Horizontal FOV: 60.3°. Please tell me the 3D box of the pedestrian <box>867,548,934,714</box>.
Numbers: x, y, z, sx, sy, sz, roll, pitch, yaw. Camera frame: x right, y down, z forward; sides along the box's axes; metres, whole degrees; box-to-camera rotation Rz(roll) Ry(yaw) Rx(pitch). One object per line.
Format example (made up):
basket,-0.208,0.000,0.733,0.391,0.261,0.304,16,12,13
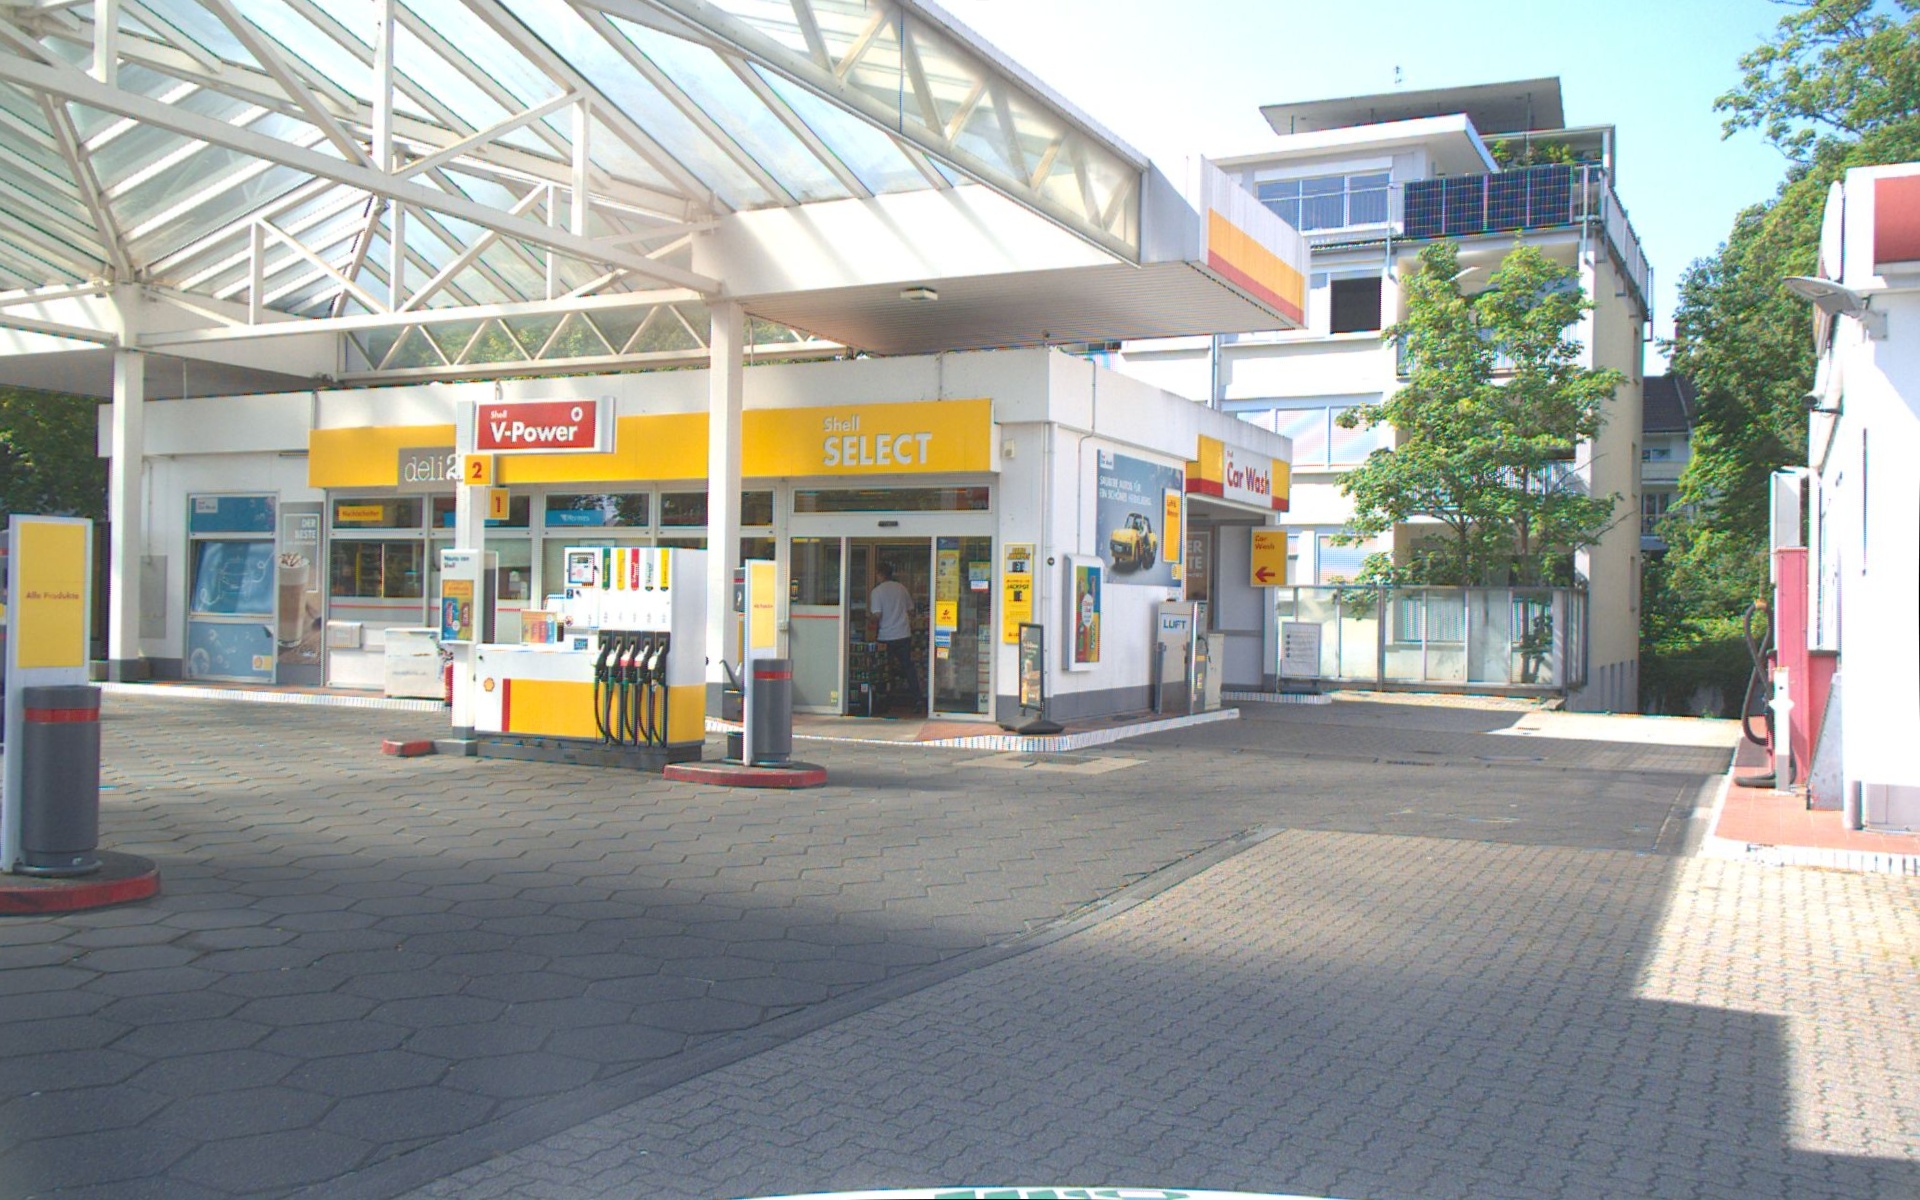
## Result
pedestrian,-0.745,0.381,20.920,0.608,2.049,0.743,1,-1,18
